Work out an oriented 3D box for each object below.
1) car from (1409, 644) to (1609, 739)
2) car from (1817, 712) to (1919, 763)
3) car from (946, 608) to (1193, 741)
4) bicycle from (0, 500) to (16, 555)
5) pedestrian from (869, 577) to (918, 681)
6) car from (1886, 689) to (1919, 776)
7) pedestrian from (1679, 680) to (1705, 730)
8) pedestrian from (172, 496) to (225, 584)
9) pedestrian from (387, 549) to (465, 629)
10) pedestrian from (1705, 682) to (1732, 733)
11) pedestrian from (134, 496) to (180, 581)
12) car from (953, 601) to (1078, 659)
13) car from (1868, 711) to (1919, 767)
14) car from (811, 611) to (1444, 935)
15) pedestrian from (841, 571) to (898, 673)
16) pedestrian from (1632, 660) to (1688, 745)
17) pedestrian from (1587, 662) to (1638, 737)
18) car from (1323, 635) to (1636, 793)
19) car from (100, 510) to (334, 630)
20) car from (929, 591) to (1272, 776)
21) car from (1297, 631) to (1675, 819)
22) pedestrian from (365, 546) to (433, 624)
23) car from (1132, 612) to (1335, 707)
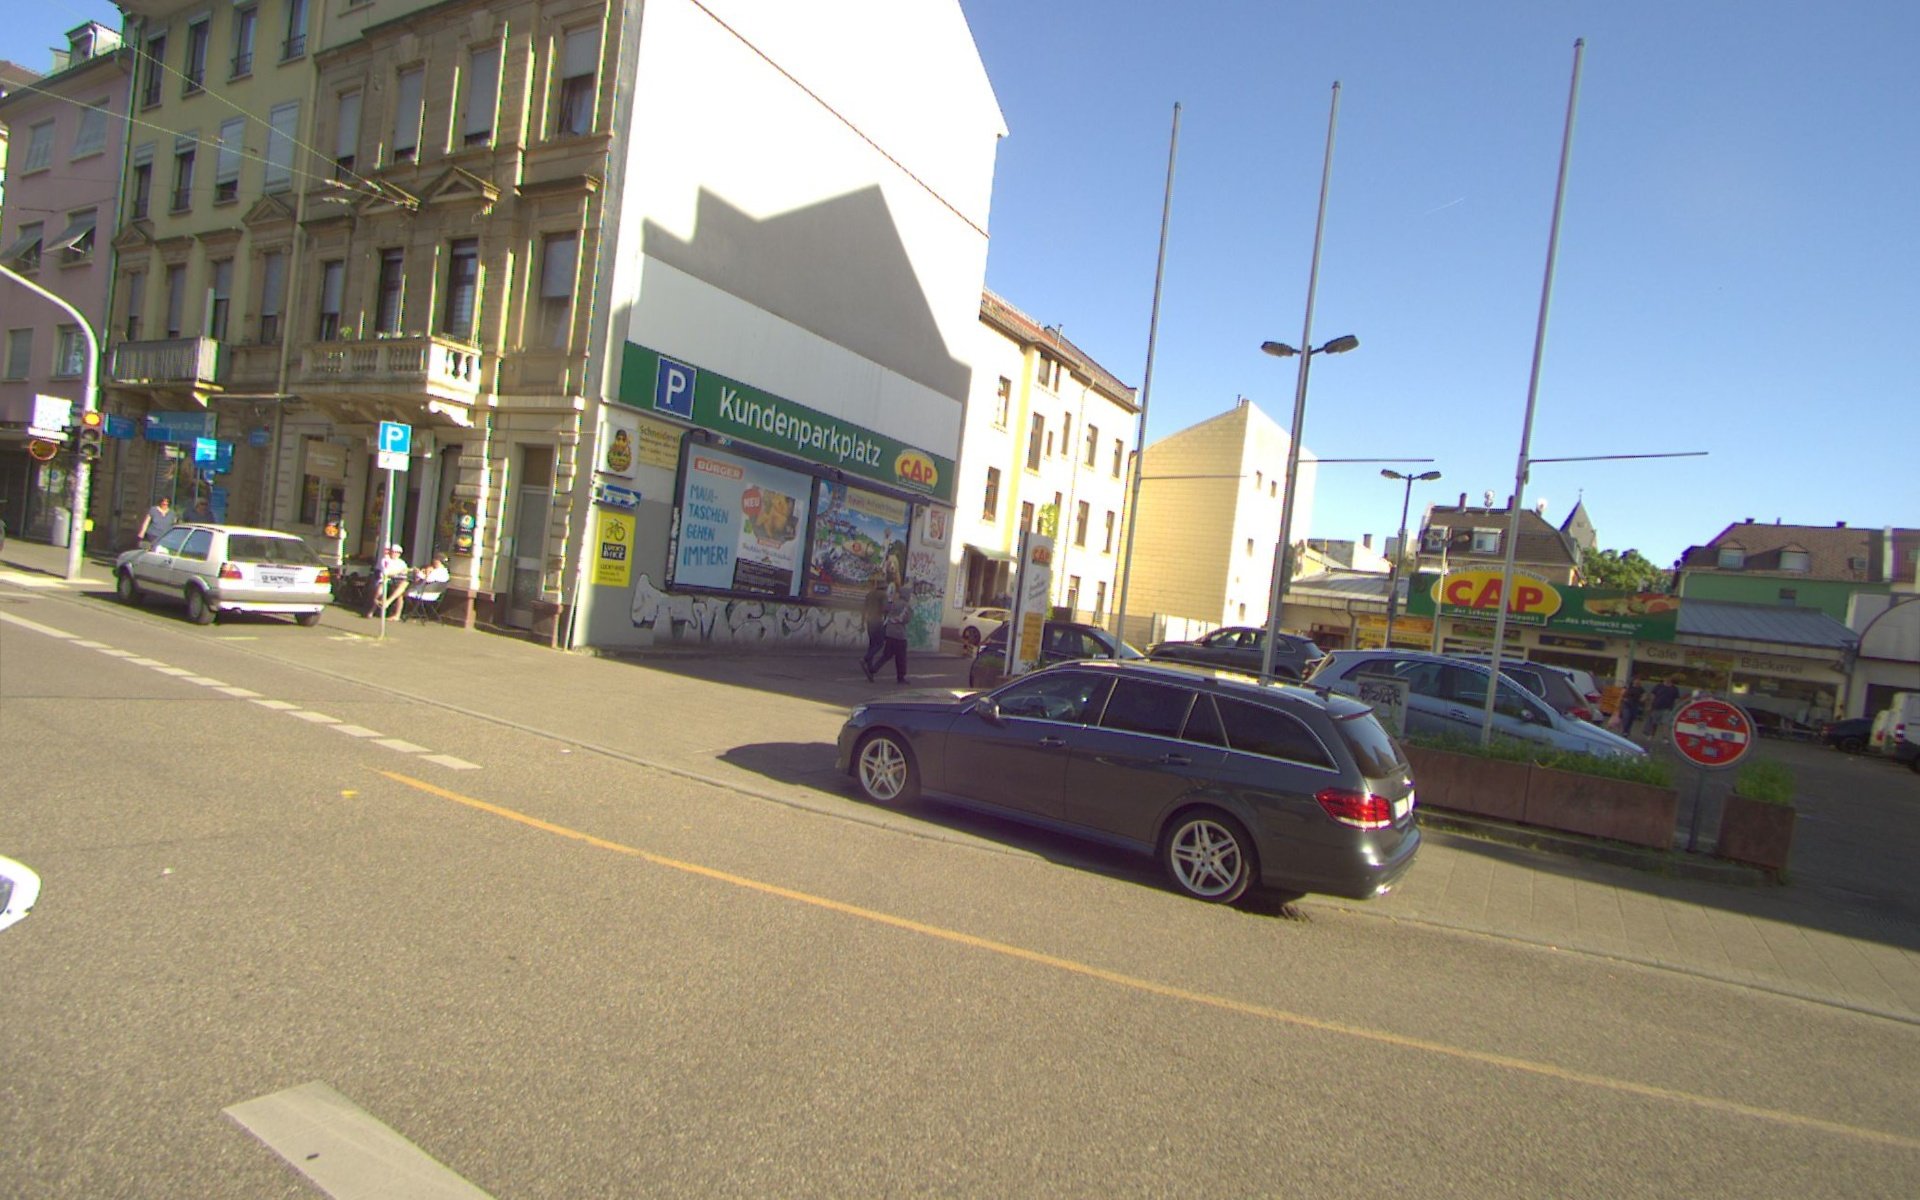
[{"bbox_3d":[12.899,2.117,23.778,3.872,1.601,1.659,7,0,31],"label":"car"},{"bbox_3d":[34.714,5.205,37.557,3.941,1.371,1.751,7,0,39],"label":"car"},{"bbox_3d":[1.687,1.101,15.585,3.336,1.504,1.561,7,0,28],"label":"car"},{"bbox_3d":[-22.141,-1.707,23.017,1.731,1.173,0.448,7,1,38],"label":"bicycle"},{"bbox_3d":[-1.187,0.522,18.062,0.503,1.777,0.763,7,1,12],"label":"pedestrian"},{"bbox_3d":[29.817,4.110,28.648,4.816,2.442,1.702,7,1,43],"label":"car"},{"bbox_3d":[31.363,4.475,43.107,0.636,2.039,0.561,7,1,31],"label":"pedestrian"},{"bbox_3d":[-16.581,-1.294,21.901,0.522,1.830,0.673,7,3,31],"label":"pedestrian"},{"bbox_3d":[-9.295,-0.175,17.530,0.644,1.298,0.902,7,2,27],"label":"pedestrian"},{"bbox_3d":[31.882,4.511,42.311,0.636,2.039,0.561,7,1,31],"label":"pedestrian"},{"bbox_3d":[-17.140,-1.306,21.483,0.382,1.729,0.550,8,1,34],"label":"pedestrian"},{"bbox_3d":[1.938,1.057,35.543,3.933,1.482,1.756,7,0,32],"label":"car"},{"bbox_3d":[34.374,5.051,34.980,3.993,1.759,1.653,7,1,43],"label":"car"},{"bbox_3d":[1.211,1.114,8.231,4.656,1.507,1.833,7,3,32],"label":"car"},{"bbox_3d":[-1.744,0.419,19.552,0.734,1.864,0.763,7,1,9],"label":"pedestrian"},{"bbox_3d":[18.039,2.635,25.946,0.908,2.038,0.818,7,1,32],"label":"pedestrian"},{"bbox_3d":[17.124,2.600,26.411,0.908,1.818,0.818,7,1,32],"label":"pedestrian"},{"bbox_3d":[7.910,1.653,15.576,3.931,1.715,1.747,7,1,29],"label":"car"},{"bbox_3d":[-11.588,-0.490,15.624,3.937,1.435,1.562,7,3,32],"label":"car"},{"bbox_3d":[1.751,0.963,12.772,3.835,1.666,1.652,7,1,28],"label":"car"},{"bbox_3d":[6.663,1.508,13.091,3.930,1.665,1.748,7,0,28],"label":"car"},{"bbox_3d":[-9.920,-0.264,17.804,0.598,1.299,0.797,7,4,30],"label":"pedestrian"},{"bbox_3d":[6.623,1.411,24.505,4.309,1.687,1.756,7,0,32],"label":"car"}]
